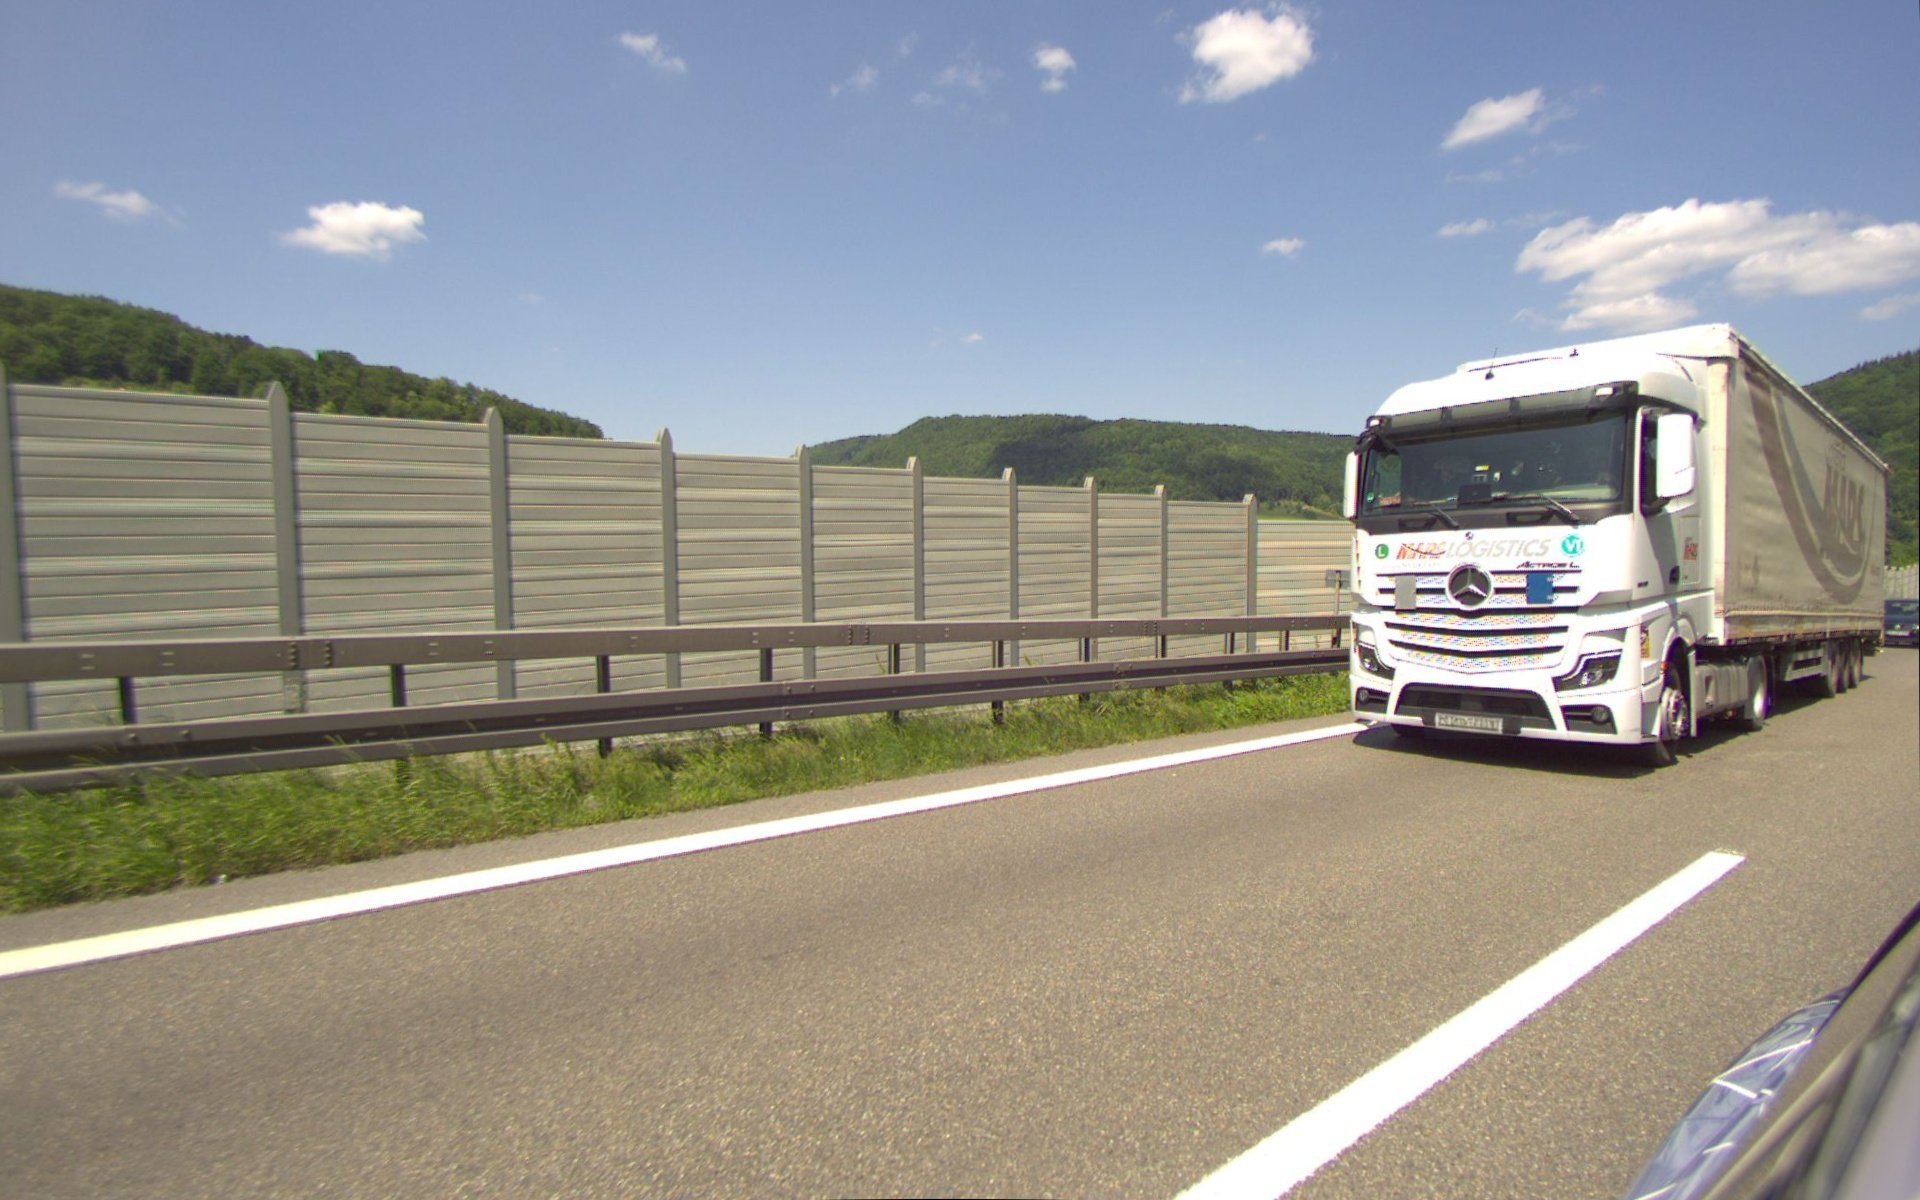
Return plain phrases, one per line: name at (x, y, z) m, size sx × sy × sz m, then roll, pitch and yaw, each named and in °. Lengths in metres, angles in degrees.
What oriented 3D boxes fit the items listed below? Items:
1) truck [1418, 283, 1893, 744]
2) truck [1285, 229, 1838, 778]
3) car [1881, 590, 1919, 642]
truck at (10.472, -0.813, 14.255) m, size 11.840 × 4.200 × 2.858 m, roll 0°, pitch 0°, yaw -42°
truck at (6.692, -0.900, 10.812) m, size 6.705 × 4.084 × 2.765 m, roll -1°, pitch 7°, yaw -41°
car at (29.095, 0.469, 30.420) m, size 3.414 × 1.430 × 1.662 m, roll -1°, pitch 4°, yaw -41°
